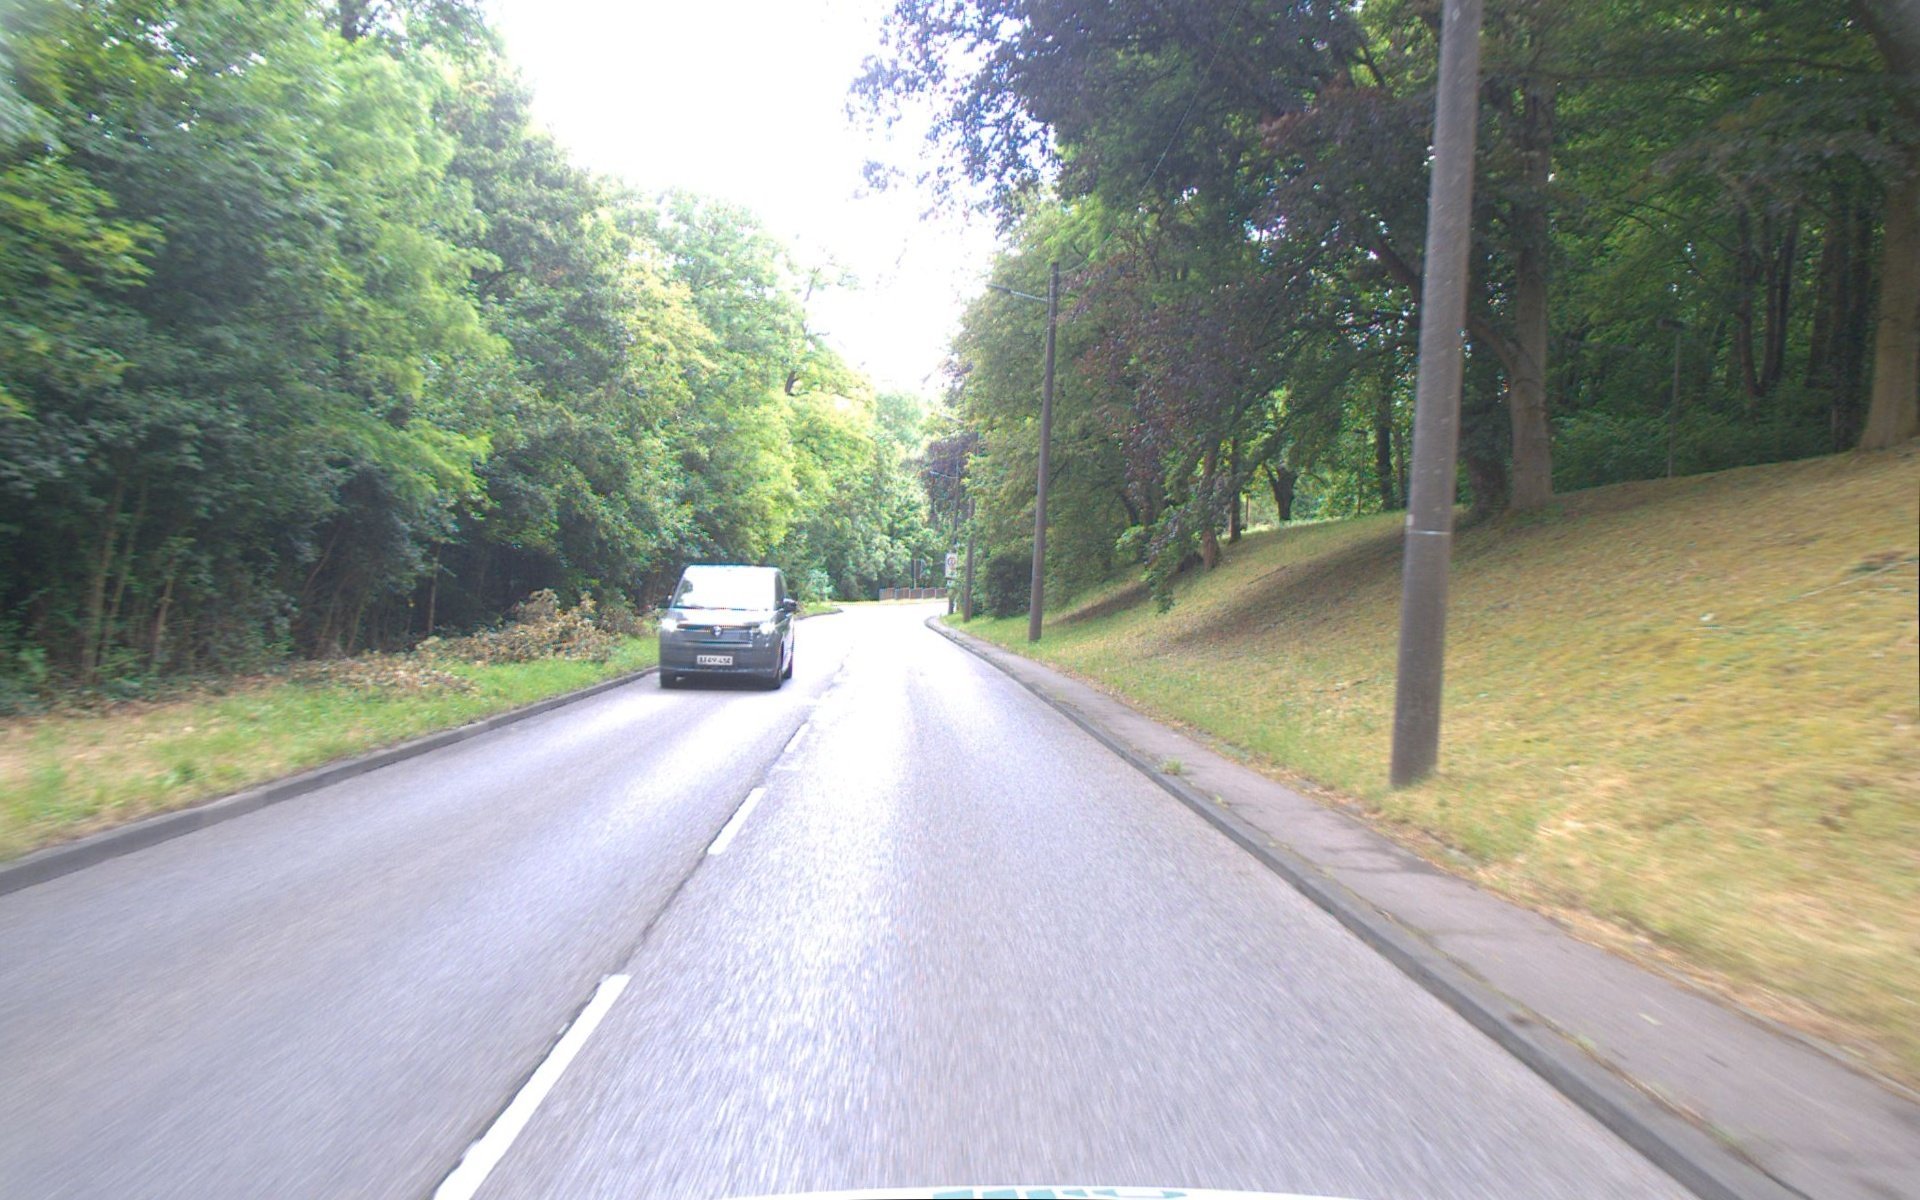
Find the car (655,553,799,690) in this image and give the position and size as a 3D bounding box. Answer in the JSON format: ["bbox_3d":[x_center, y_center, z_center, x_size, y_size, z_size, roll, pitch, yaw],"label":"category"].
[{"bbox_3d":[-3.686,0.324,26.952,1.954,1.982,4.941,2,0,-4],"label":"car"}]
